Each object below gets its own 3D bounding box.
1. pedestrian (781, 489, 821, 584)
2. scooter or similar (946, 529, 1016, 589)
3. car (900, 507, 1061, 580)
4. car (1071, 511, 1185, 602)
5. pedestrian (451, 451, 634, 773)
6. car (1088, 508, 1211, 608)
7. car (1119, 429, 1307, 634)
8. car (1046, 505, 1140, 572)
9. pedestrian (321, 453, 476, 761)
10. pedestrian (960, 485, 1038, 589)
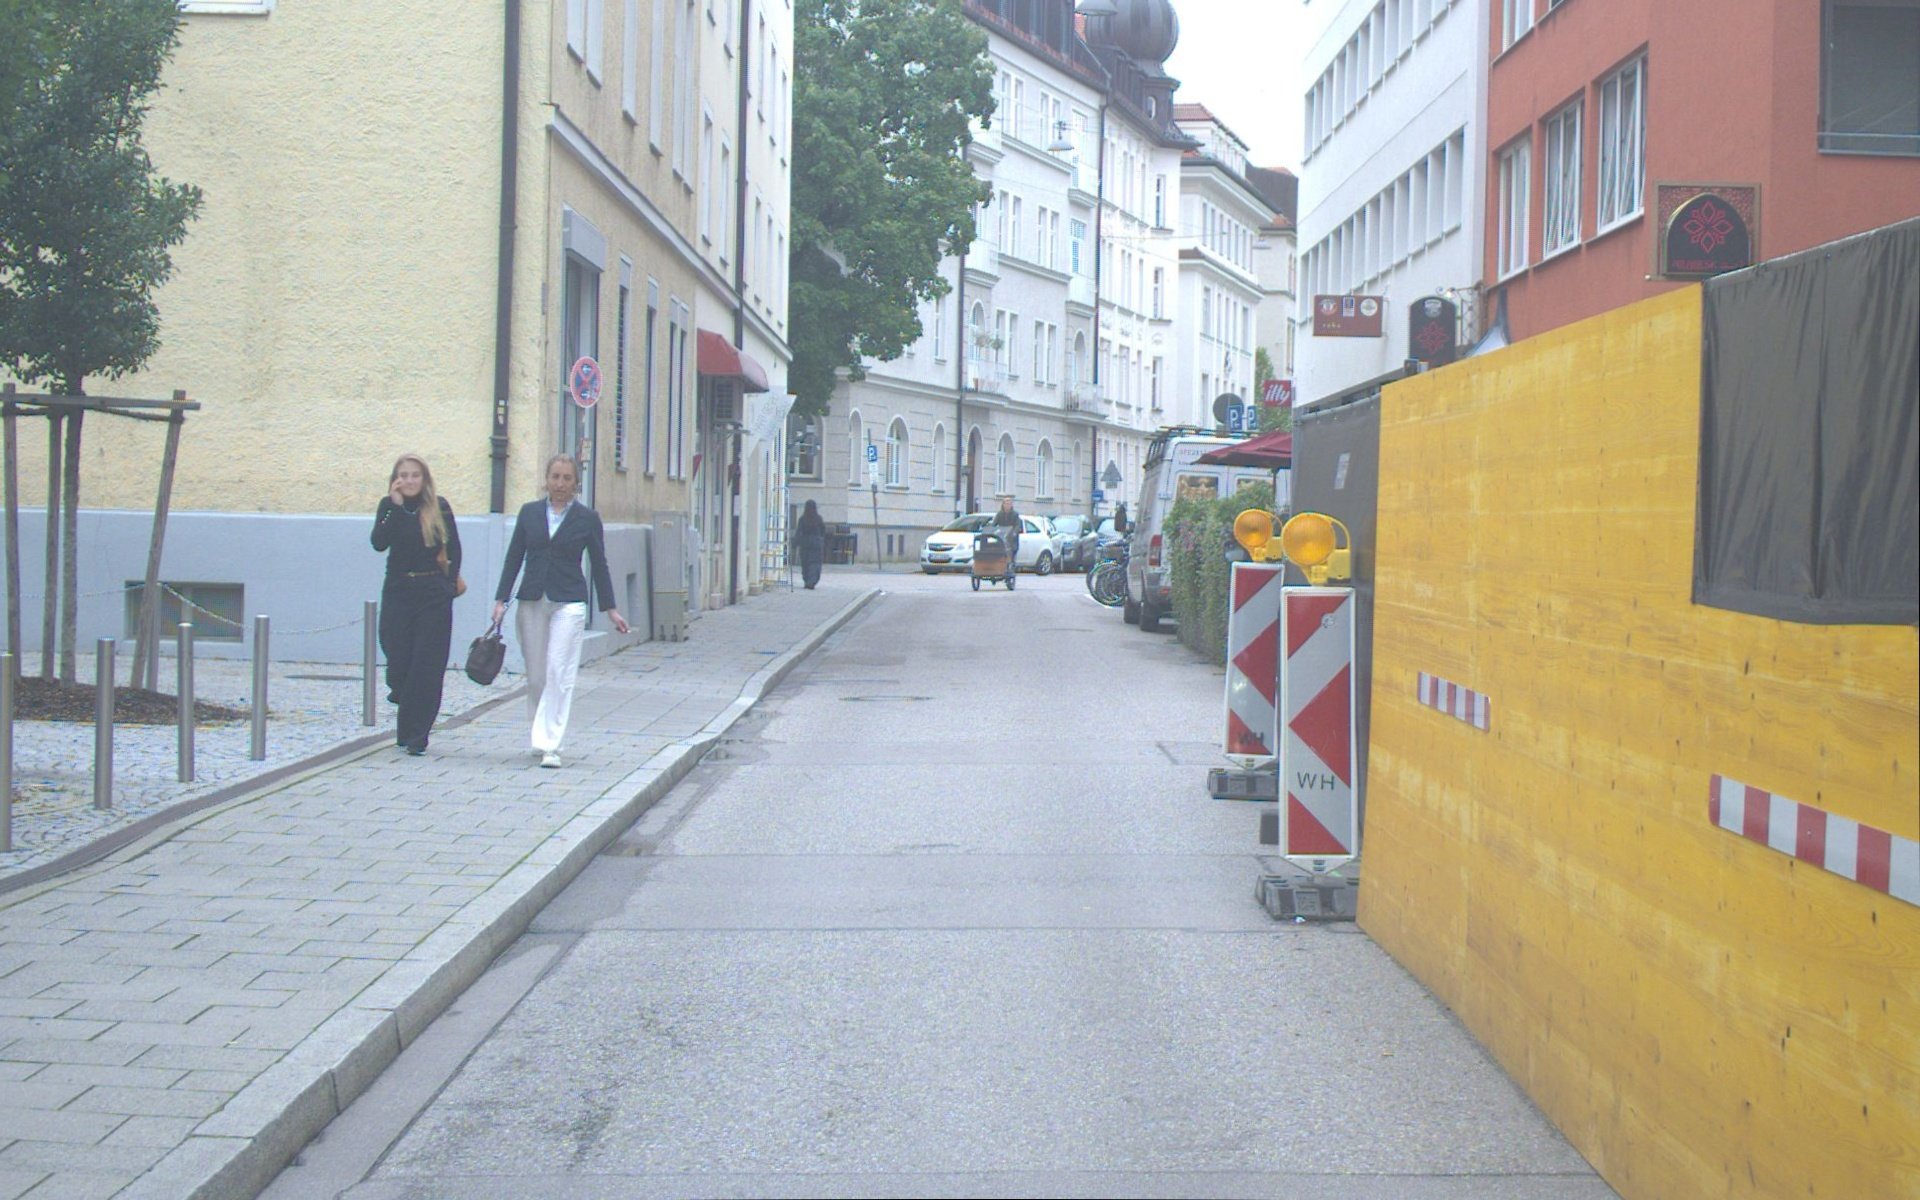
[{"bbox_3d":[-2.851,-1.135,61.706,0.634,1.669,0.517,3,1,0],"label":"pedestrian"},{"bbox_3d":[0.416,-0.809,67.945,1.068,1.123,1.159,3,1,16],"label":"scooter or similar"},{"bbox_3d":[0.503,-1.322,80.543,1.695,1.568,3.991,3,2,36],"label":"car"},{"bbox_3d":[3.126,-0.843,64.712,1.811,1.557,4.275,3,1,-1],"label":"car"},{"bbox_3d":[-2.284,0.059,18.885,0.839,1.694,0.803,3,1,0],"label":"pedestrian"},{"bbox_3d":[3.269,-0.760,60.053,1.788,1.620,4.273,3,1,-1],"label":"car"},{"bbox_3d":[3.344,-0.935,46.334,1.993,2.528,4.975,3,1,-1],"label":"car"},{"bbox_3d":[3.932,-1.795,100.940,2.021,1.897,4.288,1,1,12],"label":"car"},{"bbox_3d":[-3.102,0.030,19.040,0.670,1.642,0.761,3,1,-1],"label":"pedestrian"},{"bbox_3d":[0.793,-1.261,69.181,1.134,2.007,1.408,3,1,16],"label":"pedestrian"}]
